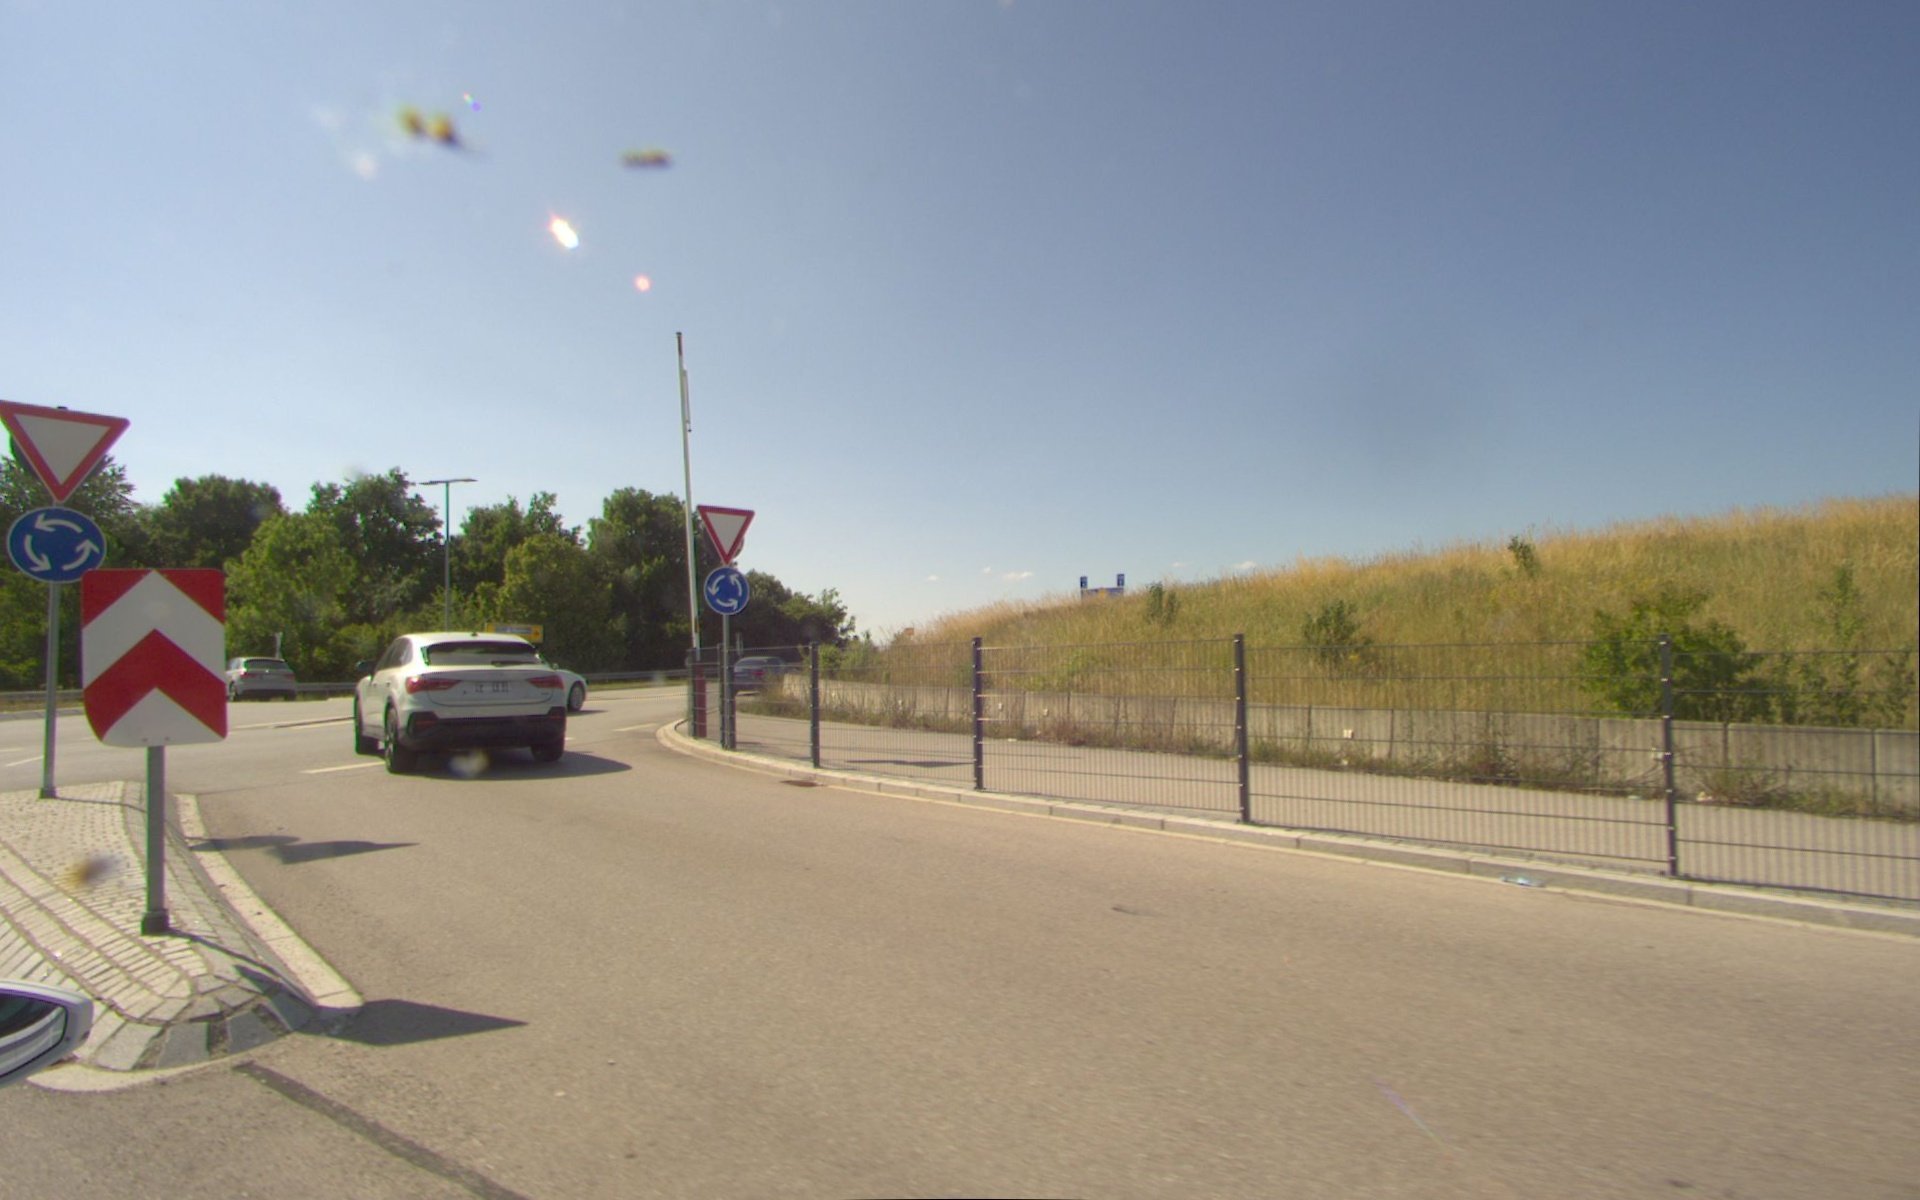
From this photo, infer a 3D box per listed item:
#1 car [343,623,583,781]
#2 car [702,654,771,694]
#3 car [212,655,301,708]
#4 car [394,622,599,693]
[{"bbox_3d":[-6.344,1.148,12.526,1.826,1.616,4.292,1,-3,-39],"label":"car"},{"bbox_3d":[-8.567,2.826,38.765,1.961,1.470,4.877,0,-3,-5],"label":"car"},{"bbox_3d":[-22.770,2.588,32.358,1.765,1.615,3.963,3,-4,-44],"label":"car"},{"bbox_3d":[-9.806,1.249,21.611,1.544,1.368,4.339,-1,-3,16],"label":"car"}]
